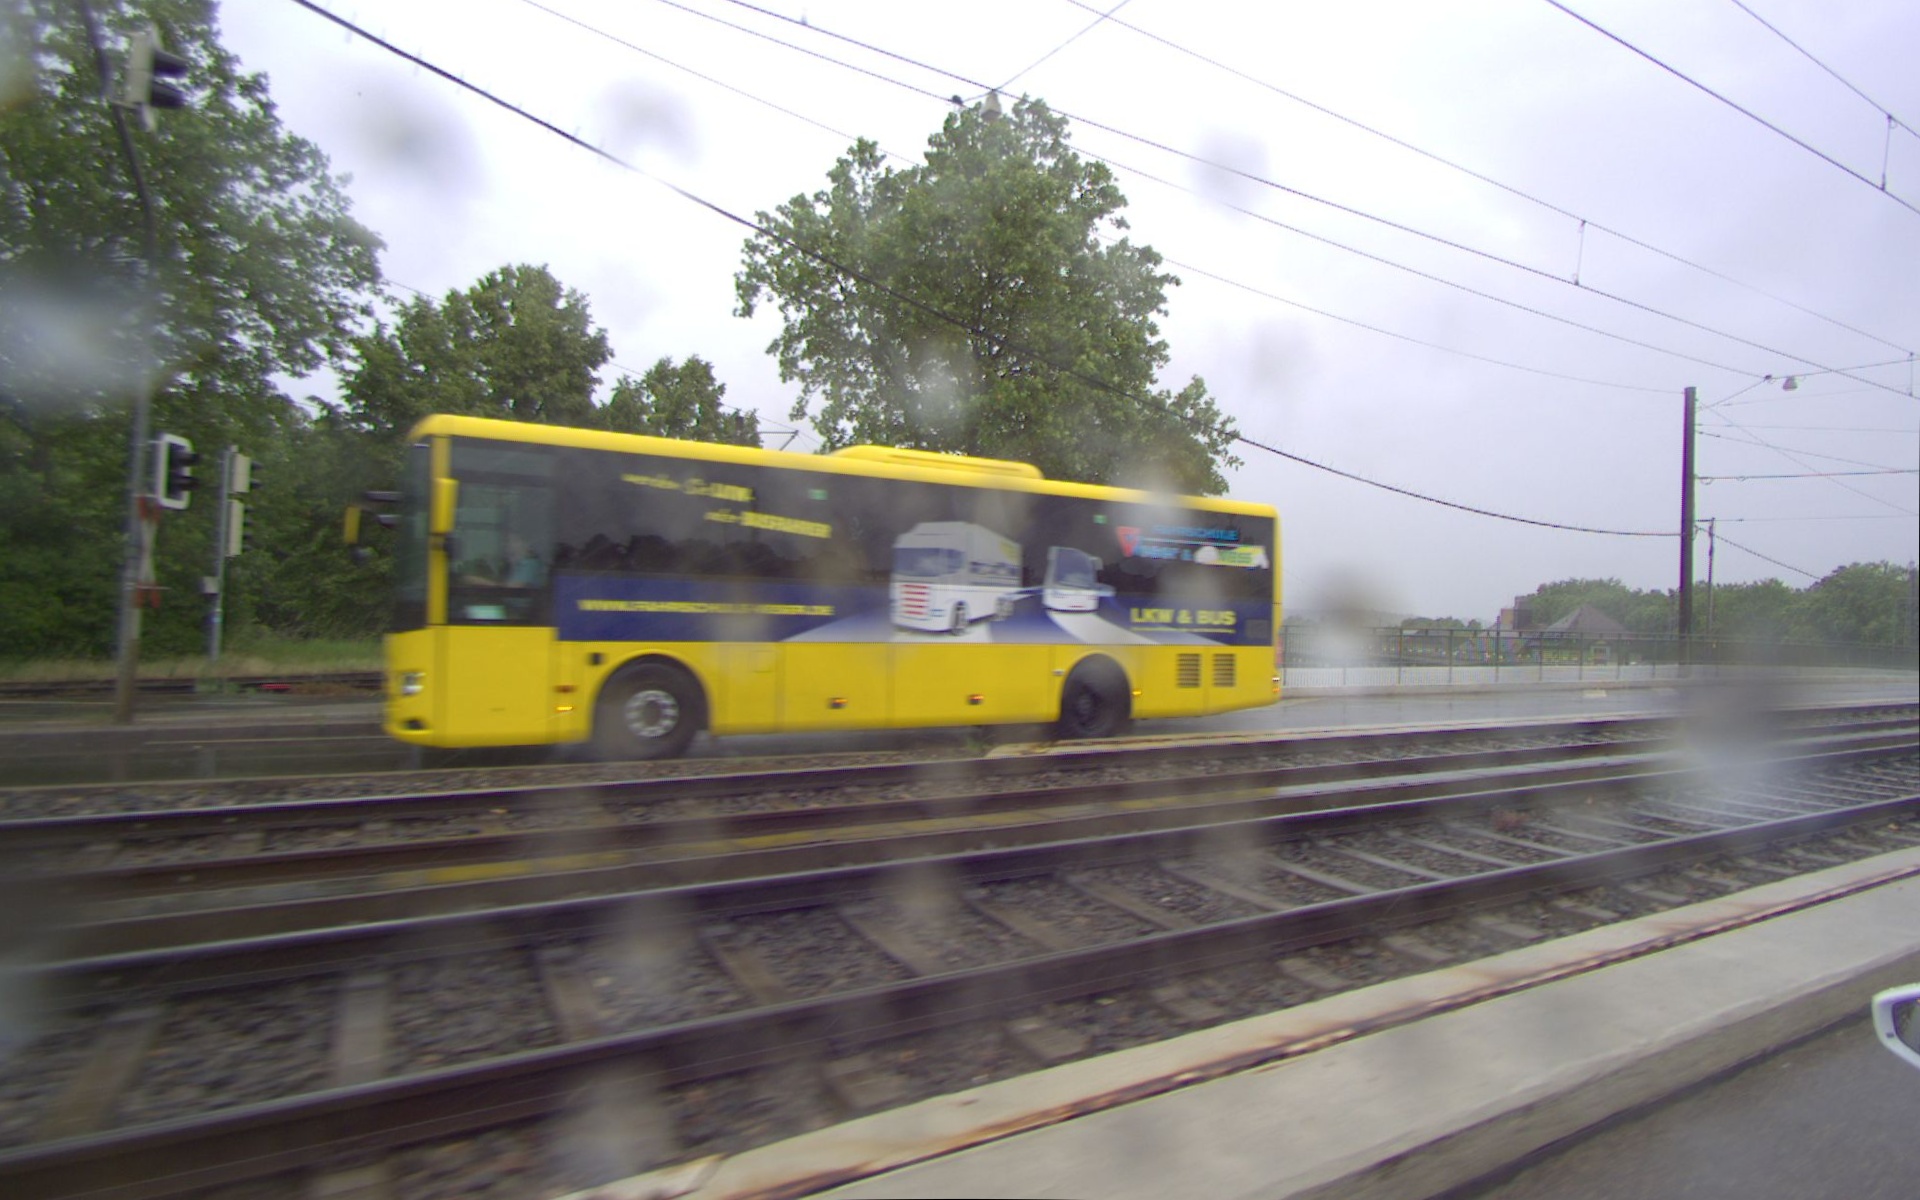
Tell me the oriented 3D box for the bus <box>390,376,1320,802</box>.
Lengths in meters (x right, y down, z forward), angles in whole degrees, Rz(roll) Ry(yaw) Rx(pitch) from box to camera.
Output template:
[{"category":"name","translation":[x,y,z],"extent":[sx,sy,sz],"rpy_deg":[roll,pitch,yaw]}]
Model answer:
[{"category":"bus","translation":[-0.499,0.025,11.926],"extent":[10.864,3.385,2.695],"rpy_deg":[1,-2,-31]}]
